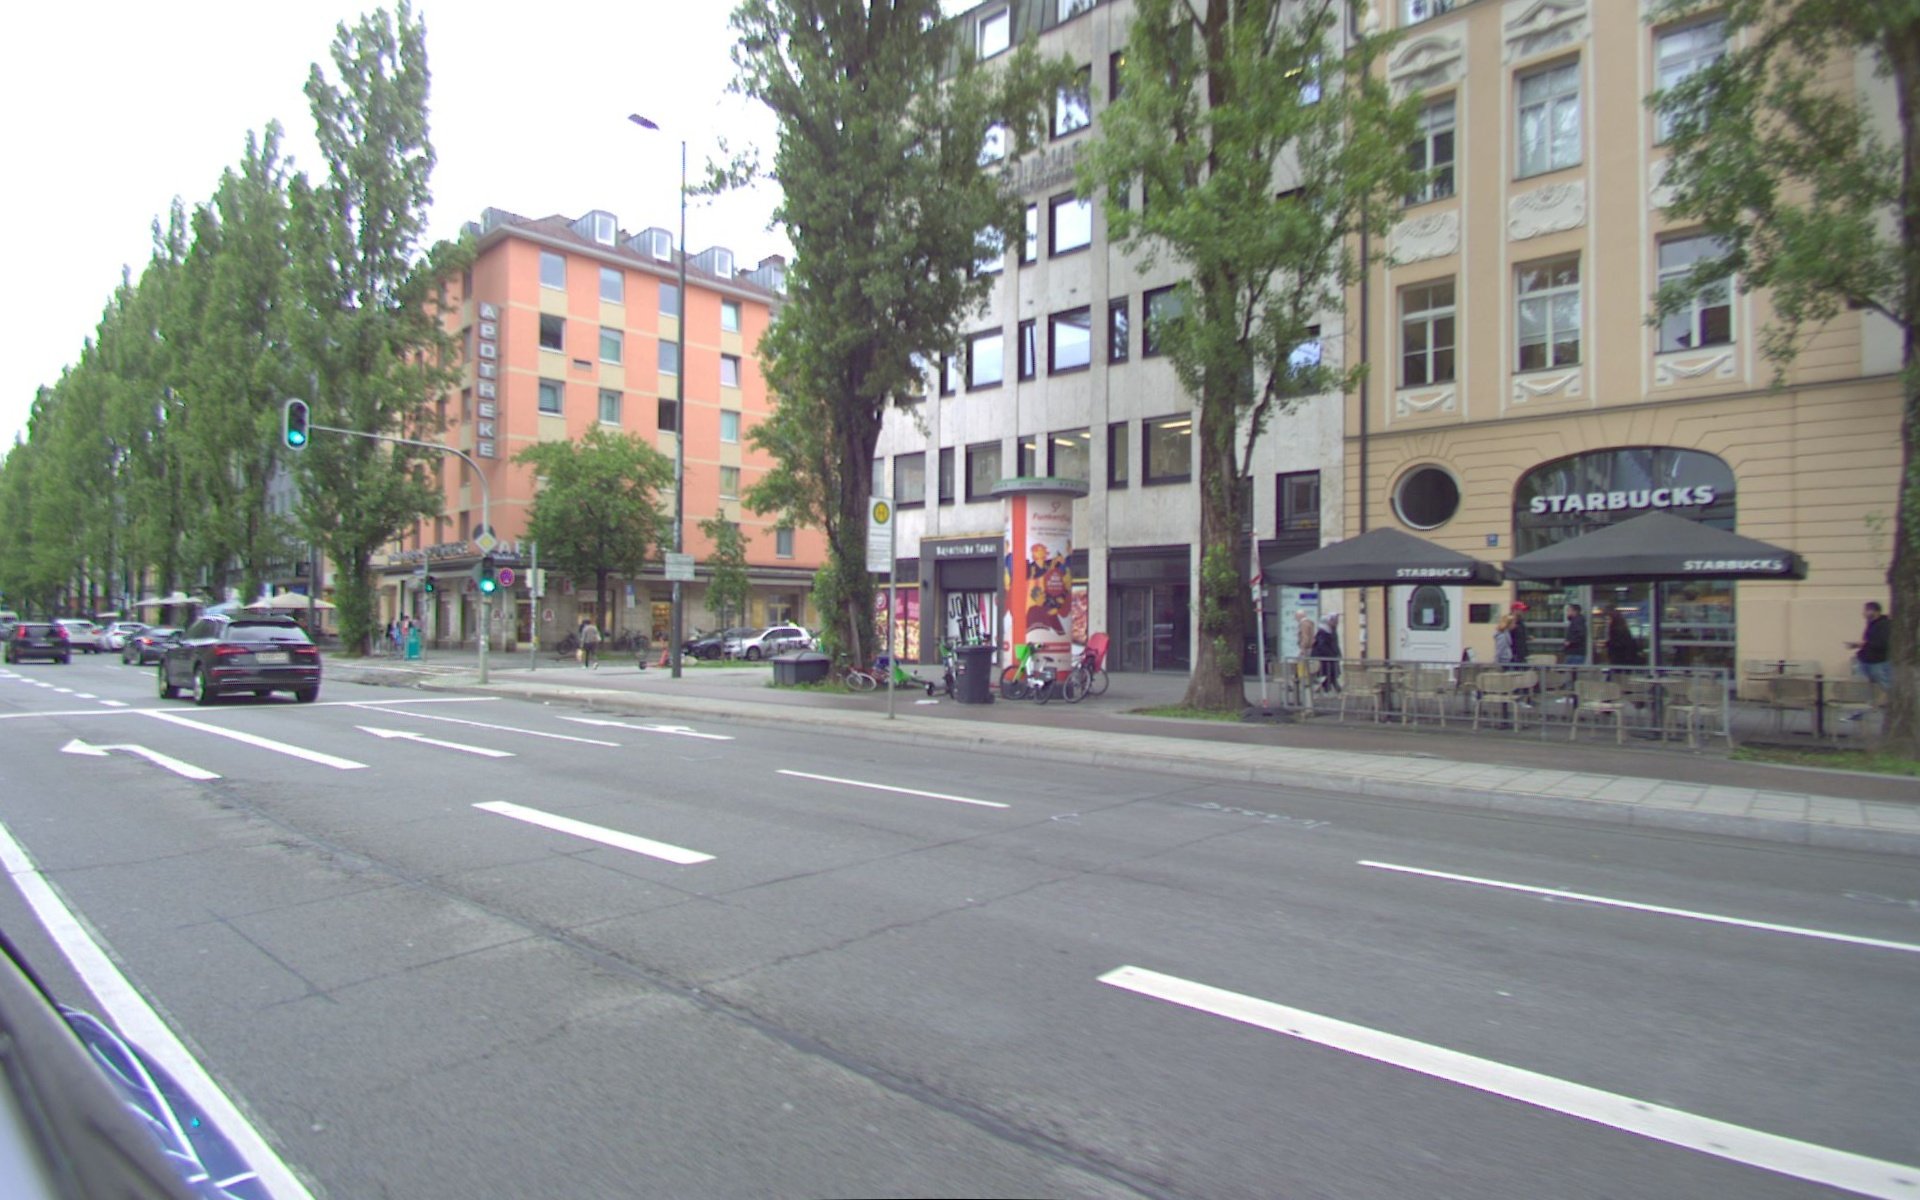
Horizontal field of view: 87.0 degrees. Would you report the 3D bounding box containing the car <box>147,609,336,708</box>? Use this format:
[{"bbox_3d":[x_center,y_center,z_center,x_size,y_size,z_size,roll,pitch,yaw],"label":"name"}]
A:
[{"bbox_3d":[-13.956,1.090,19.560,4.584,1.693,1.893,-1,-4,41],"label":"car"}]

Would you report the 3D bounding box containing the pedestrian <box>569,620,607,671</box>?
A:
[{"bbox_3d":[-12.096,1.483,32.900,0.934,1.631,0.770,-2,-2,41],"label":"pedestrian"}]

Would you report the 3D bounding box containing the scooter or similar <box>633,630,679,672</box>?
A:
[{"bbox_3d":[-9.895,1.643,32.947,1.341,1.349,0.439,1,-2,-28],"label":"scooter or similar"}]

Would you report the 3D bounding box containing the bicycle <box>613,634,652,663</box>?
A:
[{"bbox_3d":[-13.845,2.039,42.781,2.058,1.193,0.411,-1,-2,35],"label":"bicycle"}]

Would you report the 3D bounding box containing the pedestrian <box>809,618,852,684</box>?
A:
[{"bbox_3d":[-3.559,1.370,27.735,0.941,1.753,0.719,-1,-1,41],"label":"pedestrian"}]

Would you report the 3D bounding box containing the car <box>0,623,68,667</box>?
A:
[{"bbox_3d":[-33.758,1.605,36.714,3.692,1.507,1.545,-1,-3,41],"label":"car"}]

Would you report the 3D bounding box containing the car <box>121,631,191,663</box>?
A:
[{"bbox_3d":[-38.458,2.230,48.363,4.586,1.449,1.686,-1,-3,40],"label":"car"}]

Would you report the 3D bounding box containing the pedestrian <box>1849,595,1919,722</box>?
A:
[{"bbox_3d":[13.419,0.828,14.573,0.895,1.757,0.821,1,-2,-44],"label":"pedestrian"}]

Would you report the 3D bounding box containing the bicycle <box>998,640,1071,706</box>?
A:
[{"bbox_3d":[1.355,1.324,18.742,0.499,1.096,1.815,0,0,-25],"label":"bicycle"}]

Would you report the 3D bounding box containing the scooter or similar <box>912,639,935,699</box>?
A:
[{"bbox_3d":[-0.720,1.349,20.163,0.384,1.122,1.562,0,-2,1],"label":"scooter or similar"}]

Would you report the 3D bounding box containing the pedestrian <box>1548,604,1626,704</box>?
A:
[{"bbox_3d":[11.140,0.921,17.975,0.989,1.697,1.070,-1,-1,42],"label":"pedestrian"}]

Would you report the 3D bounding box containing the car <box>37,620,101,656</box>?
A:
[{"bbox_3d":[-44.877,1.882,50.942,4.634,1.729,1.817,-1,-3,42],"label":"car"}]

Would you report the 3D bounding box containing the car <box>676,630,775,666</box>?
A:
[{"bbox_3d":[-10.464,2.113,45.235,3.937,1.431,1.785,0,0,-40],"label":"car"}]

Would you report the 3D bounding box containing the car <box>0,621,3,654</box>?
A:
[{"bbox_3d":[-53.331,2.016,54.771,4.438,1.759,1.864,-2,-2,42],"label":"car"}]

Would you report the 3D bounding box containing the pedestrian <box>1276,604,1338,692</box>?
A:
[{"bbox_3d":[7.182,0.962,20.955,0.954,1.757,0.834,-1,-1,42],"label":"pedestrian"}]

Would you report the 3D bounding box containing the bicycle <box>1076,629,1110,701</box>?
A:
[{"bbox_3d":[2.572,1.215,19.461,0.579,1.311,1.948,0,-2,10],"label":"bicycle"}]

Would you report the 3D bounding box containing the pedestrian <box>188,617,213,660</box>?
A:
[{"bbox_3d":[-32.396,1.618,43.163,0.725,1.809,0.995,0,-1,-31],"label":"pedestrian"}]

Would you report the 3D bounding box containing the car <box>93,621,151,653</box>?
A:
[{"bbox_3d":[-44.199,1.946,53.358,4.094,1.595,1.685,-1,-3,42],"label":"car"}]

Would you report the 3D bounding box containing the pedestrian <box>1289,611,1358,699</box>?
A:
[{"bbox_3d":[6.795,1.001,18.926,0.742,1.579,0.990,0,-1,-45],"label":"pedestrian"}]

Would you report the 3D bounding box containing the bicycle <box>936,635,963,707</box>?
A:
[{"bbox_3d":[-0.217,1.373,20.117,0.501,1.299,1.955,-1,0,-1],"label":"bicycle"}]

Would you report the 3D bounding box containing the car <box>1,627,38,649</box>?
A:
[{"bbox_3d":[-76.758,3.099,82.561,4.501,1.645,1.685,-1,-3,41],"label":"car"}]

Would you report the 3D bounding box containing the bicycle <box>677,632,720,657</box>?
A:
[{"bbox_3d":[-13.097,2.224,50.665,0.690,1.193,2.033,-2,-2,44],"label":"bicycle"}]

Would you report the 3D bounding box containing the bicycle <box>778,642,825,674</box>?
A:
[{"bbox_3d":[-5.972,2.166,38.029,2.028,1.193,0.411,-1,-2,35],"label":"bicycle"}]

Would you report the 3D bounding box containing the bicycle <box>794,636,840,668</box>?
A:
[{"bbox_3d":[-5.487,1.984,38.862,2.003,1.193,0.411,-1,-2,34],"label":"bicycle"}]

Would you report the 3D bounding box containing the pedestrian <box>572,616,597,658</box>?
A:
[{"bbox_3d":[-16.092,1.574,43.390,0.692,1.780,0.770,-2,-2,41],"label":"pedestrian"}]

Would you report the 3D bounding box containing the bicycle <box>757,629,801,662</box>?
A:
[{"bbox_3d":[-6.635,1.669,37.128,1.849,1.193,0.411,-1,-2,35],"label":"bicycle"}]

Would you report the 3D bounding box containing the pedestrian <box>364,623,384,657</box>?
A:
[{"bbox_3d":[-27.740,1.883,47.895,0.548,1.595,0.649,-2,-2,42],"label":"pedestrian"}]

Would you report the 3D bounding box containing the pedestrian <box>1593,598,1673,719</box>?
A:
[{"bbox_3d":[10.243,0.868,15.400,0.895,1.757,0.821,1,-2,-44],"label":"pedestrian"}]

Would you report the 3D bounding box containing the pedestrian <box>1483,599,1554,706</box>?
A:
[{"bbox_3d":[9.753,0.892,17.680,0.911,1.801,0.791,-2,-1,41],"label":"pedestrian"}]

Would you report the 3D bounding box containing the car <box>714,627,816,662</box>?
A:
[{"bbox_3d":[-8.399,1.903,43.739,3.937,1.431,1.784,1,-2,-40],"label":"car"}]

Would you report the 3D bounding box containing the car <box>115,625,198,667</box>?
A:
[{"bbox_3d":[-29.498,1.680,37.136,3.995,1.450,1.625,-1,-3,41],"label":"car"}]

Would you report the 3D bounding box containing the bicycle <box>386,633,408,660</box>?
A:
[{"bbox_3d":[-24.421,2.014,43.882,1.373,1.150,0.416,-1,-2,42],"label":"bicycle"}]

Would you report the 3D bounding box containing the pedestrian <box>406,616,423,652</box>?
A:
[{"bbox_3d":[-26.685,1.655,49.515,0.519,1.701,0.623,-1,-1,42],"label":"pedestrian"}]

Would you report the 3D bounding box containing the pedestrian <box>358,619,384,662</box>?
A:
[{"bbox_3d":[-25.186,1.719,43.268,0.778,1.784,0.716,-2,-2,42],"label":"pedestrian"}]

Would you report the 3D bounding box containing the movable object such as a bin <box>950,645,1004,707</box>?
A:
[{"bbox_3d":[0.308,1.348,18.161,0.847,1.049,0.722,-1,0,13],"label":"movable object such as a bin"}]

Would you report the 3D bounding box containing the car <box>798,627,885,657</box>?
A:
[{"bbox_3d":[-5.829,2.031,49.970,3.886,1.431,1.894,1,-2,-40],"label":"car"}]

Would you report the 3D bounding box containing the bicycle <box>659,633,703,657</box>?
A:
[{"bbox_3d":[-13.778,2.209,49.959,0.690,1.193,2.033,-2,-2,44],"label":"bicycle"}]

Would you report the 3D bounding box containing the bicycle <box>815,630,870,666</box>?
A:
[{"bbox_3d":[-4.252,1.721,36.878,2.108,1.259,0.558,1,-2,-45],"label":"bicycle"}]

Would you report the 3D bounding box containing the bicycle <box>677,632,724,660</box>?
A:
[{"bbox_3d":[-11.915,2.090,46.519,2.031,1.193,0.538,0,-1,-41],"label":"bicycle"}]

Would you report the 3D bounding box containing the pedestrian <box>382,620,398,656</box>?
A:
[{"bbox_3d":[-27.407,1.813,48.632,0.626,1.683,0.501,-2,-2,43],"label":"pedestrian"}]

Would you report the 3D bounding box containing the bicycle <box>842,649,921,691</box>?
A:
[{"bbox_3d":[-1.707,1.521,22.366,0.827,0.514,1.939,22,8,21],"label":"bicycle"}]

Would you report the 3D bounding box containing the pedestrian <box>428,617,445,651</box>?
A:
[{"bbox_3d":[-26.118,1.710,50.509,0.514,1.704,0.580,-2,-3,41],"label":"pedestrian"}]

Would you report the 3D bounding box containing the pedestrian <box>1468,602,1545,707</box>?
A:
[{"bbox_3d":[9.222,0.897,17.068,0.977,1.694,0.724,-2,-1,41],"label":"pedestrian"}]
